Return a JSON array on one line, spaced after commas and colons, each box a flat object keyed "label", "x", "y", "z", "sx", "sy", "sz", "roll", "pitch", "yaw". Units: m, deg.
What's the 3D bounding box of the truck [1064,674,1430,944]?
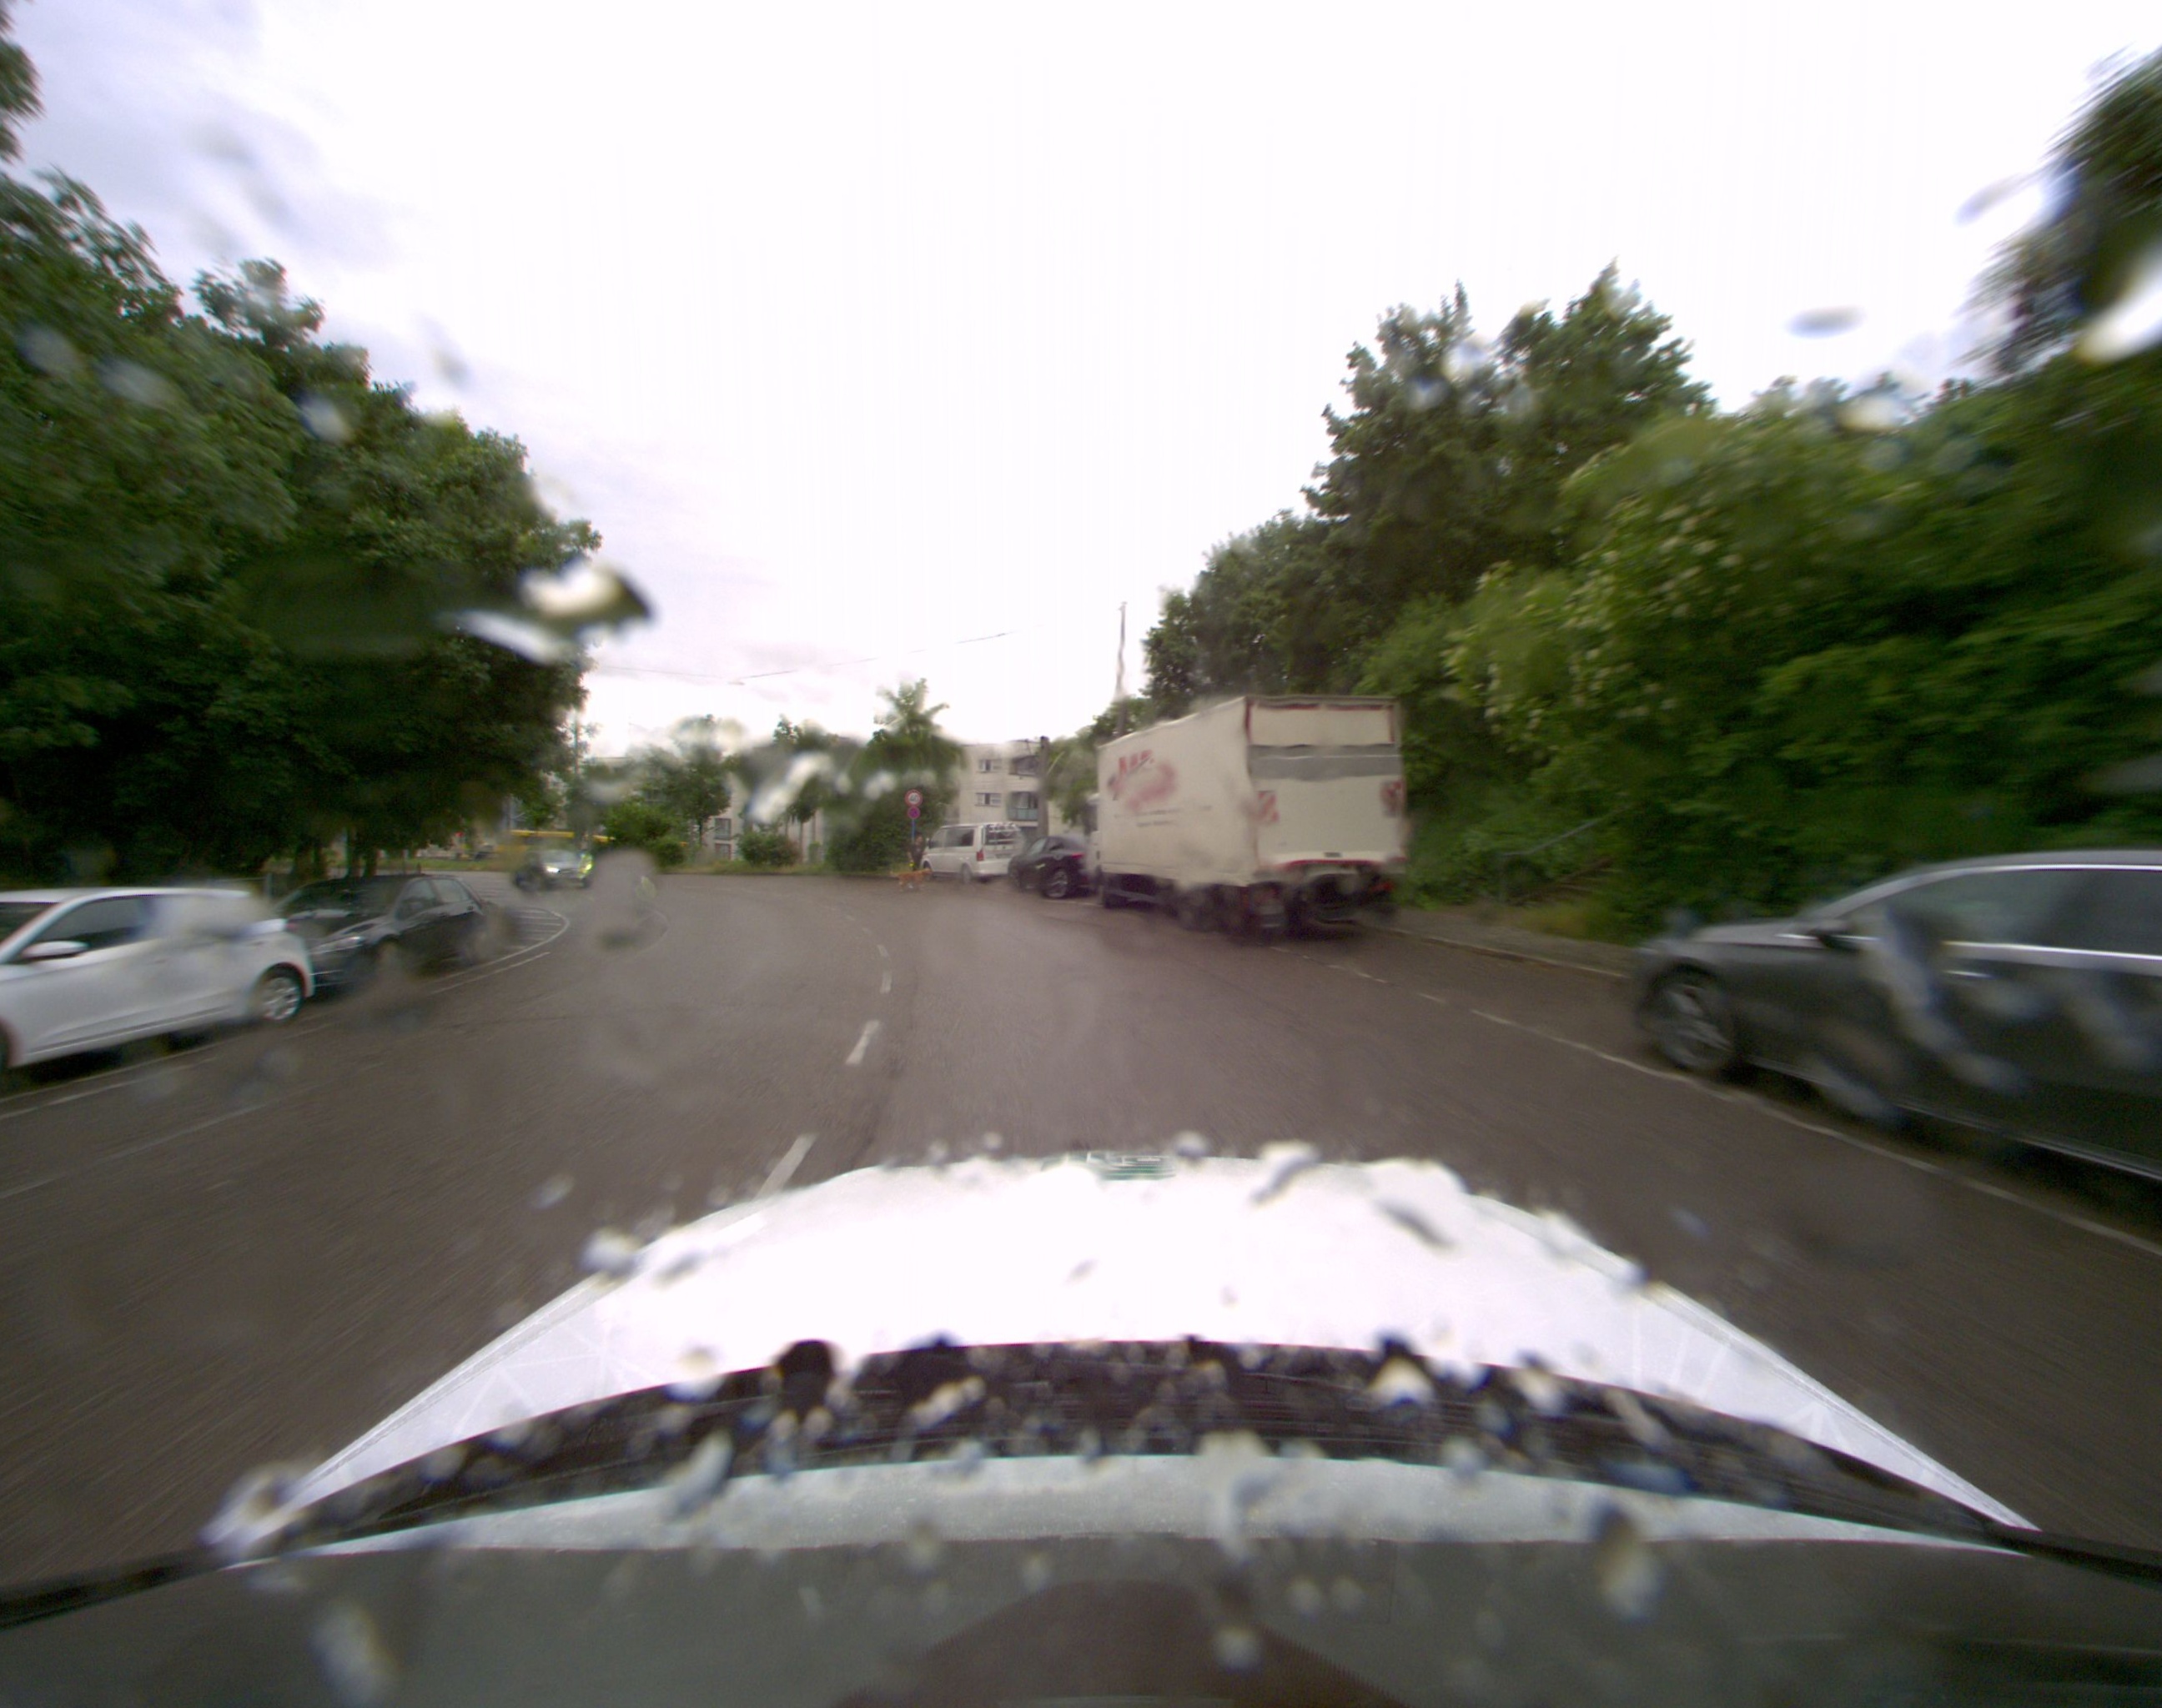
[{"label": "truck", "x": 2.324, "y": -0.664, "z": 15.217, "sx": 3.015, "sy": 3.573, "sz": 8.287, "roll": -2, "pitch": 1, "yaw": -17}]

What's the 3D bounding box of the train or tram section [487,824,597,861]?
[{"label": "train or tram section", "x": -61.618, "y": -1.273, "z": 92.657, "sx": 18.569, "sy": 3.947, "sz": 3.363, "roll": 0, "pitch": 1, "yaw": 34}]

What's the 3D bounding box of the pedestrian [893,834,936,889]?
[{"label": "pedestrian", "x": -5.258, "y": 0.239, "z": 25.773, "sx": 0.913, "sy": 1.661, "sz": 0.810, "roll": -1, "pitch": 3, "yaw": 27}]

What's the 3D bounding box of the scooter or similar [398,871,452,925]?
[{"label": "scooter or similar", "x": -16.441, "y": 1.084, "z": 20.449, "sx": 0.610, "sy": 1.268, "sz": 1.427, "roll": 2, "pitch": -1, "yaw": -22}]

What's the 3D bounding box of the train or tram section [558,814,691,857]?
[{"label": "train or tram section", "x": -46.627, "y": -1.750, "z": 82.698, "sx": 19.031, "sy": 3.947, "sz": 3.363, "roll": 0, "pitch": 1, "yaw": 34}]

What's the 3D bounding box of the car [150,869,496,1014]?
[{"label": "car", "x": -9.914, "y": 1.004, "z": 11.146, "sx": 1.777, "sy": 1.443, "sz": 3.994, "roll": -2, "pitch": 1, "yaw": -16}]

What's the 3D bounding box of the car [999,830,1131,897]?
[{"label": "car", "x": -0.550, "y": 0.195, "z": 22.074, "sx": 1.729, "sy": 1.555, "sz": 4.237, "roll": -4, "pitch": 2, "yaw": -29}]

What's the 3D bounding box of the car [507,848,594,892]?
[{"label": "car", "x": -22.971, "y": 0.637, "z": 35.209, "sx": 4.254, "sy": 1.669, "sz": 1.835, "roll": 0, "pitch": 4, "yaw": 39}]

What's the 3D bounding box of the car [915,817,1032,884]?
[{"label": "car", "x": -3.721, "y": -0.134, "z": 27.454, "sx": 1.891, "sy": 2.013, "sz": 4.640, "roll": -4, "pitch": 2, "yaw": -35}]

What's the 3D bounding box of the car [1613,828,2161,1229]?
[{"label": "car", "x": 4.721, "y": 0.614, "z": 3.678, "sx": 1.718, "sy": 1.444, "sz": 4.118, "roll": -1, "pitch": 1, "yaw": -5}]

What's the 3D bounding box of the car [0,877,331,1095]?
[{"label": "car", "x": -8.651, "y": 1.003, "z": 6.582, "sx": 1.750, "sy": 1.456, "sz": 4.036, "roll": -2, "pitch": 0, "yaw": -8}]
